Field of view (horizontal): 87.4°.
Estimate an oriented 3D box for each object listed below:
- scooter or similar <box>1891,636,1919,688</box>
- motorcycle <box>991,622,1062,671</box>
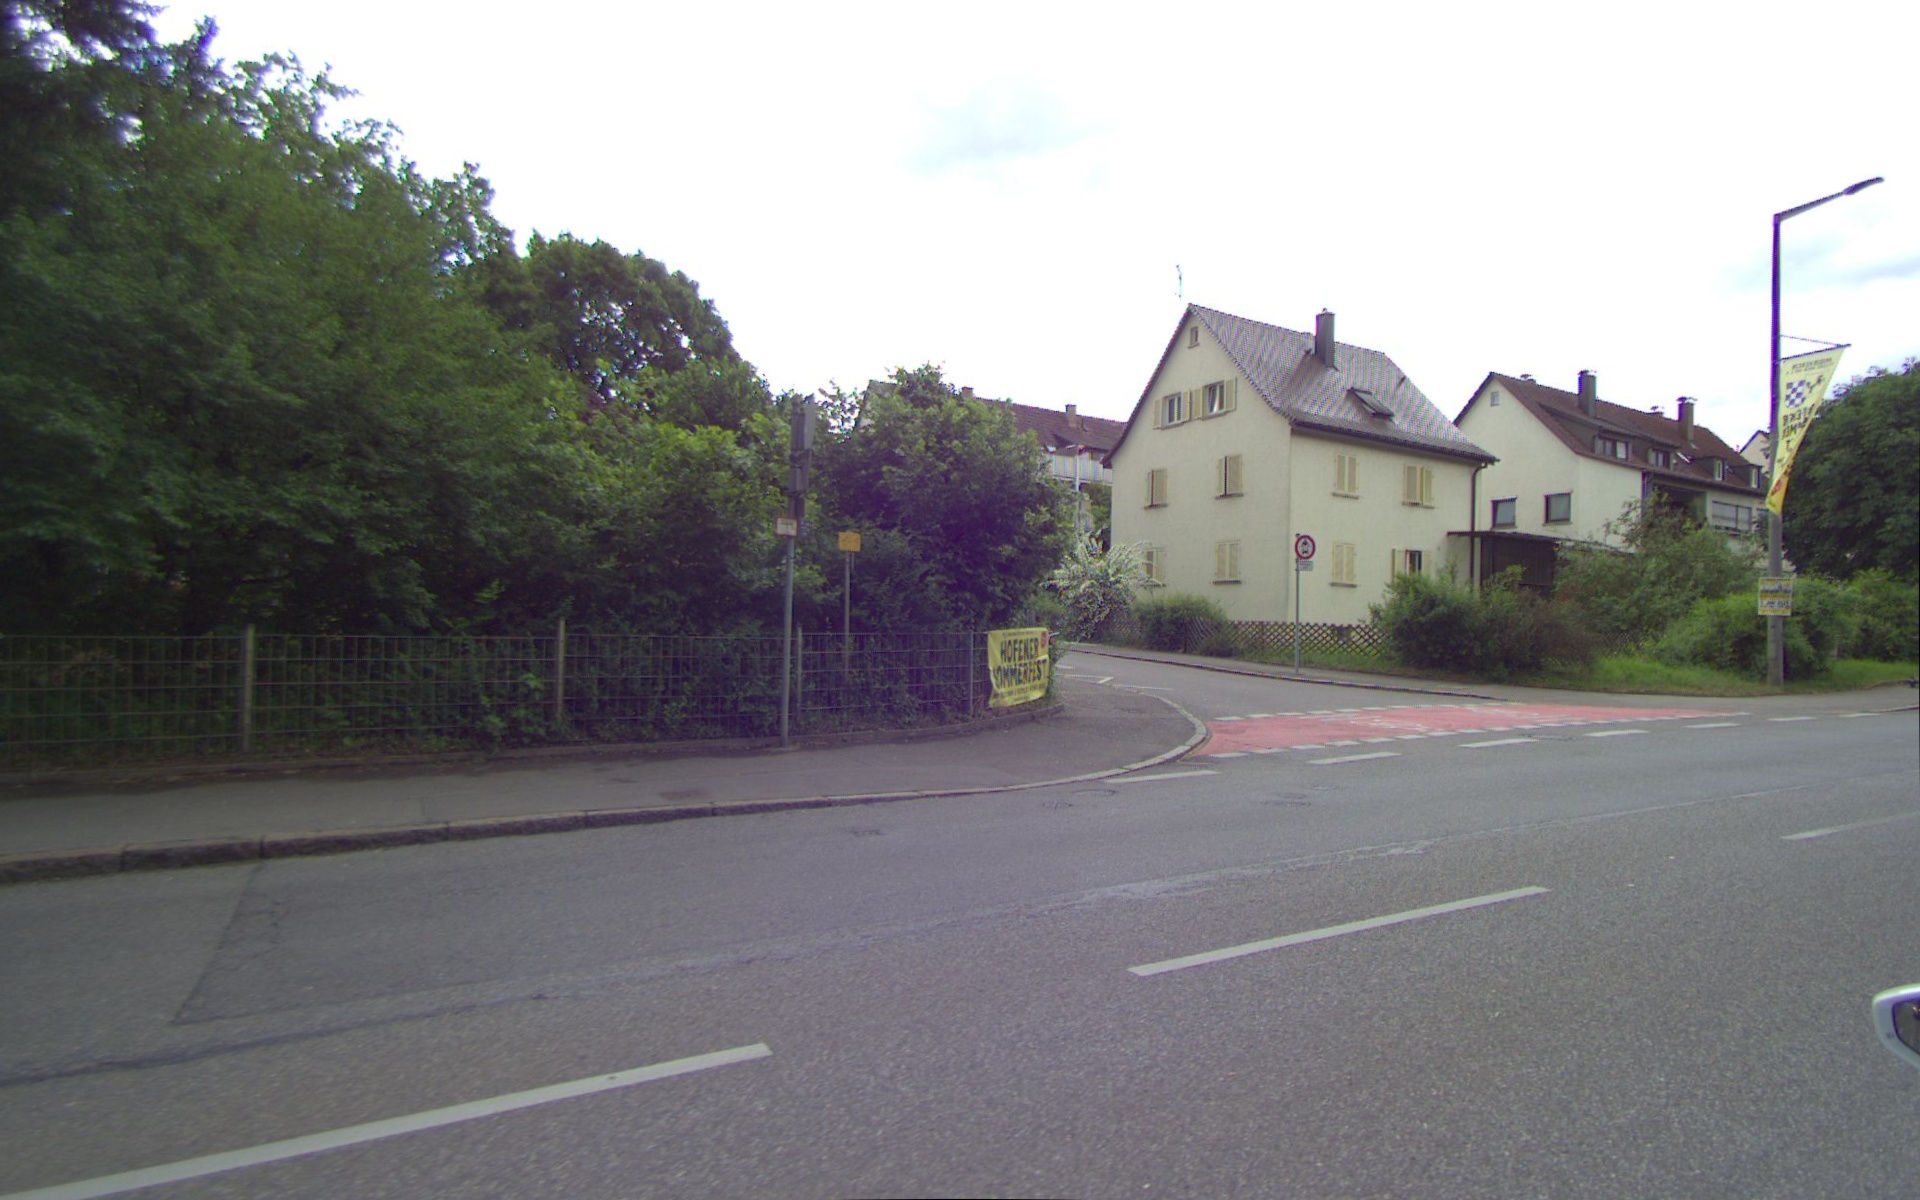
[{"bbox_3d":[24.184,1.547,25.450,1.409,1.275,0.460,1,0,-29],"label":"scooter or similar"},{"bbox_3d":[1.541,1.073,23.427,1.615,1.082,0.460,1,0,4],"label":"motorcycle"}]
